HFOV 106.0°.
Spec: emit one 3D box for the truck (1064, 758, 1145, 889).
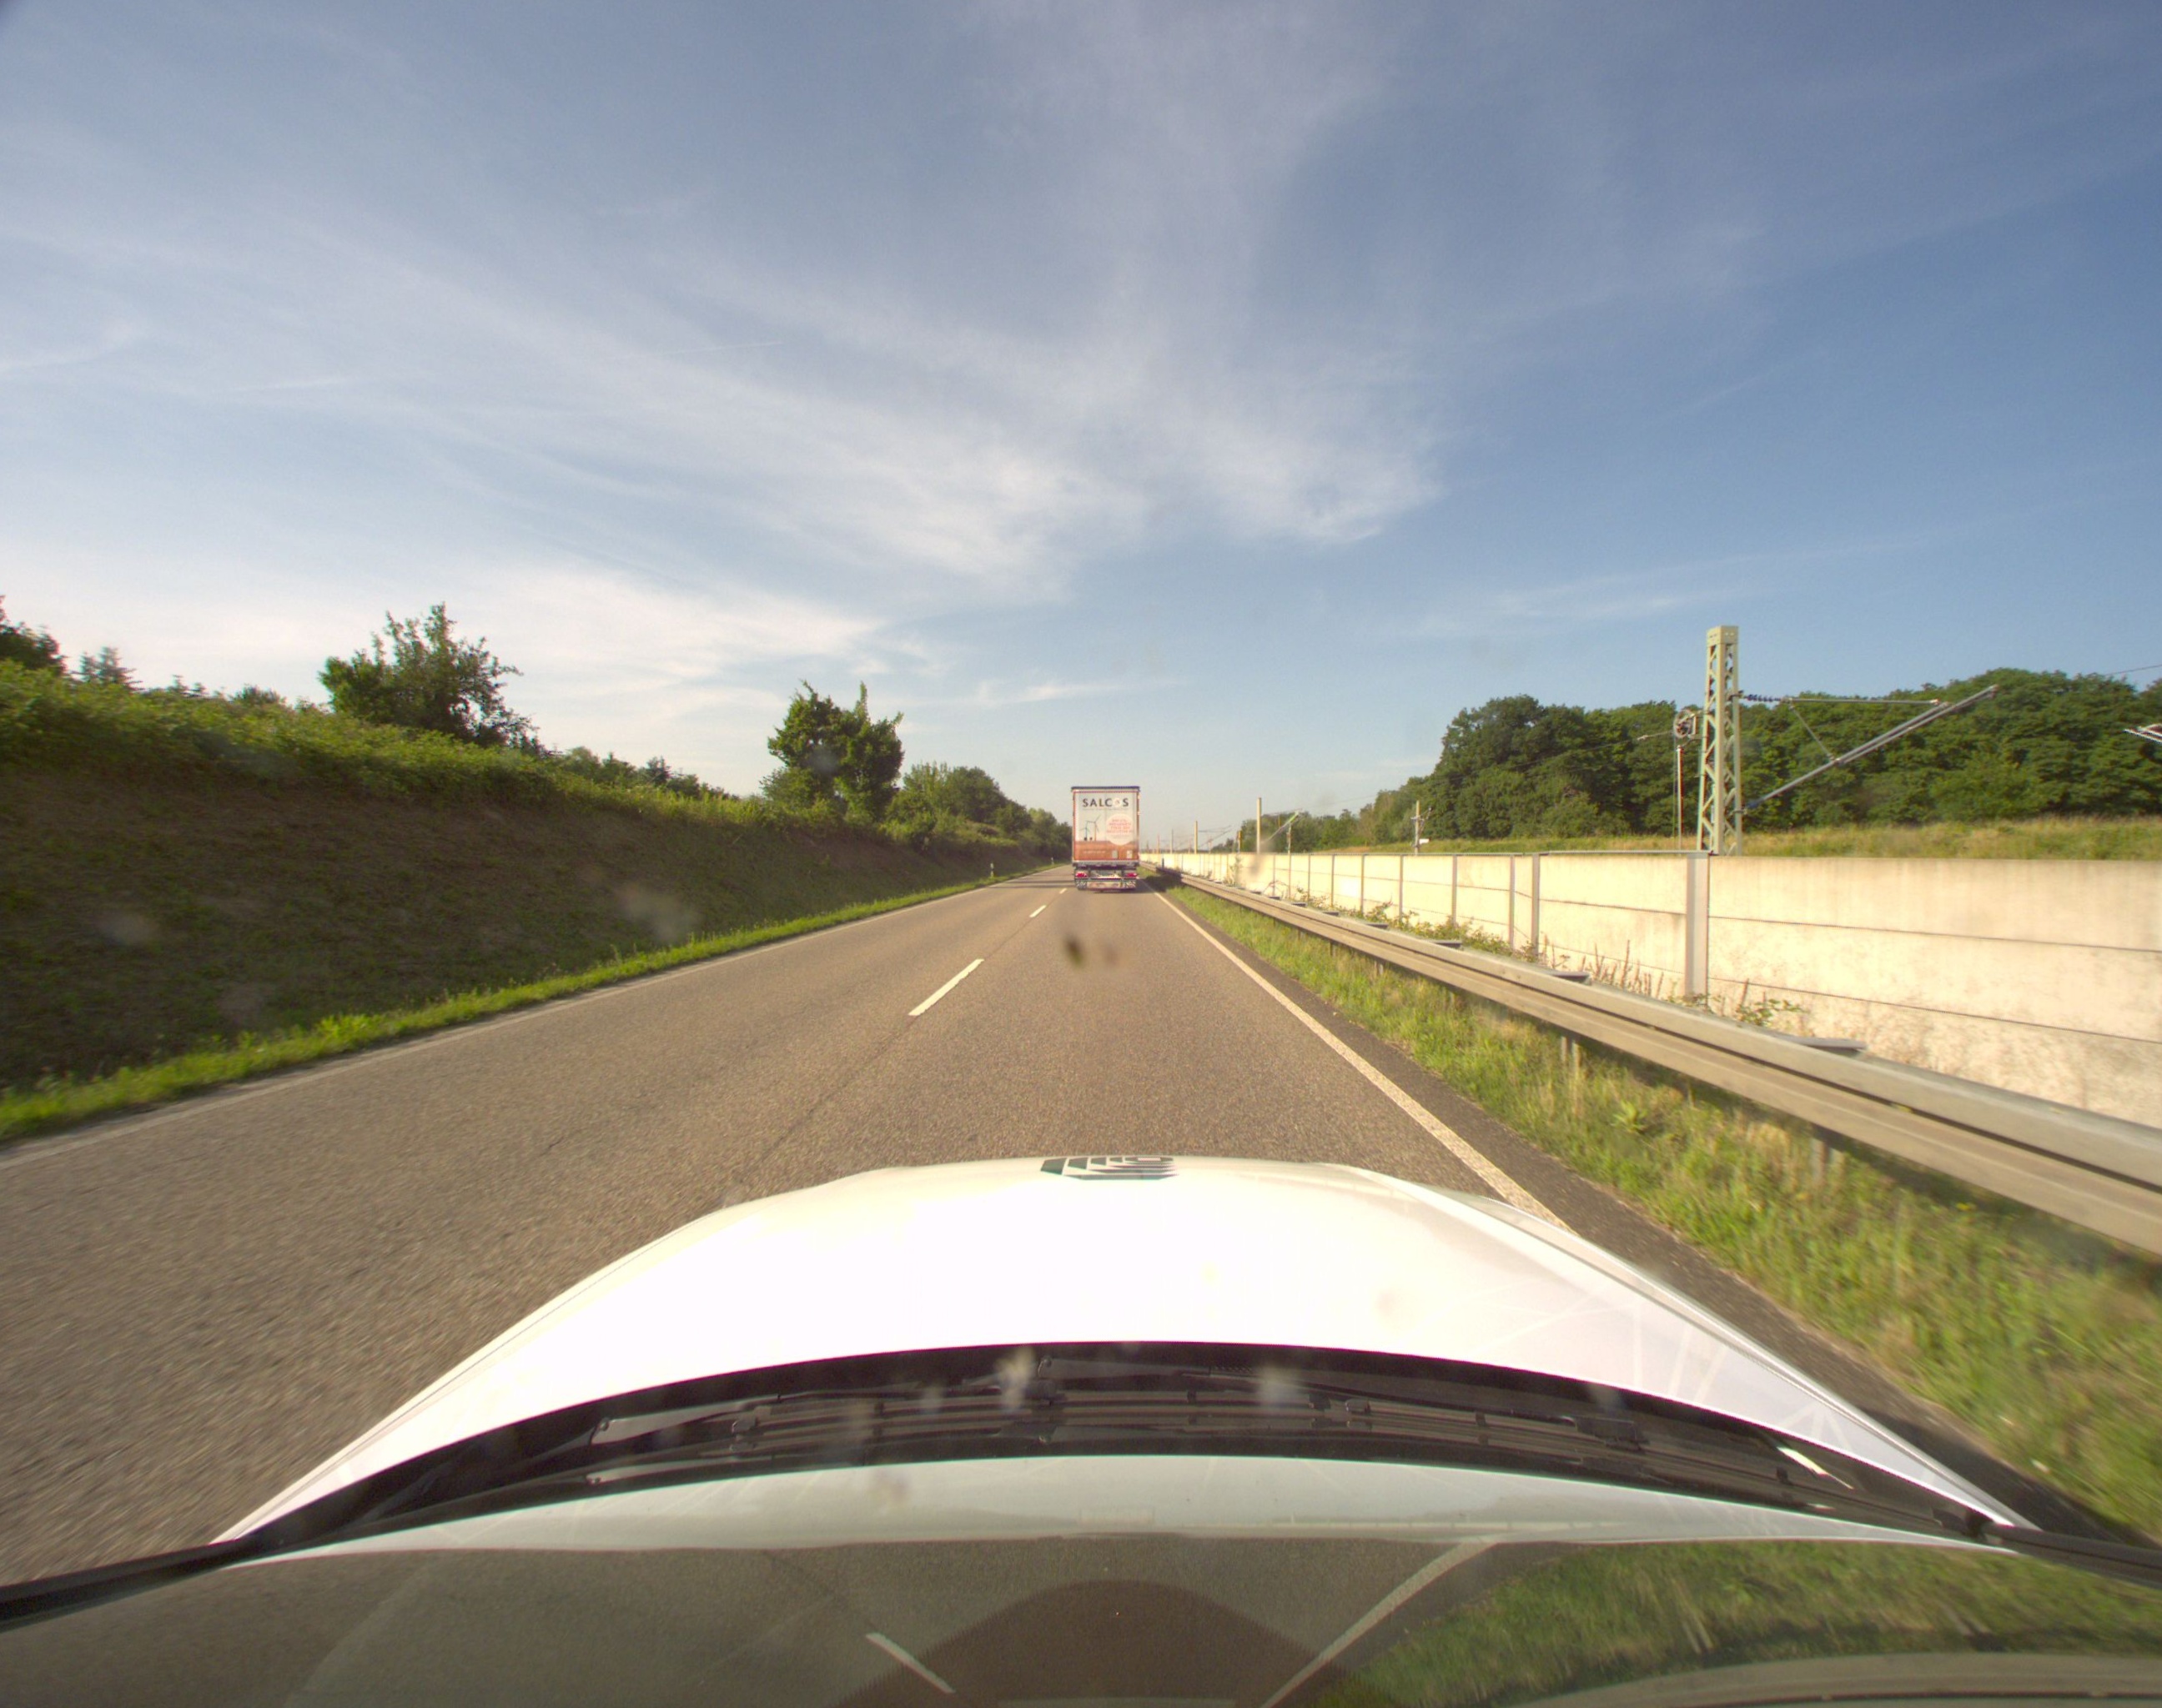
[{"bbox_3d":[0.989,-1.138,36.516,3.022,4.920,11.685,0,0,1],"label":"truck"}]
